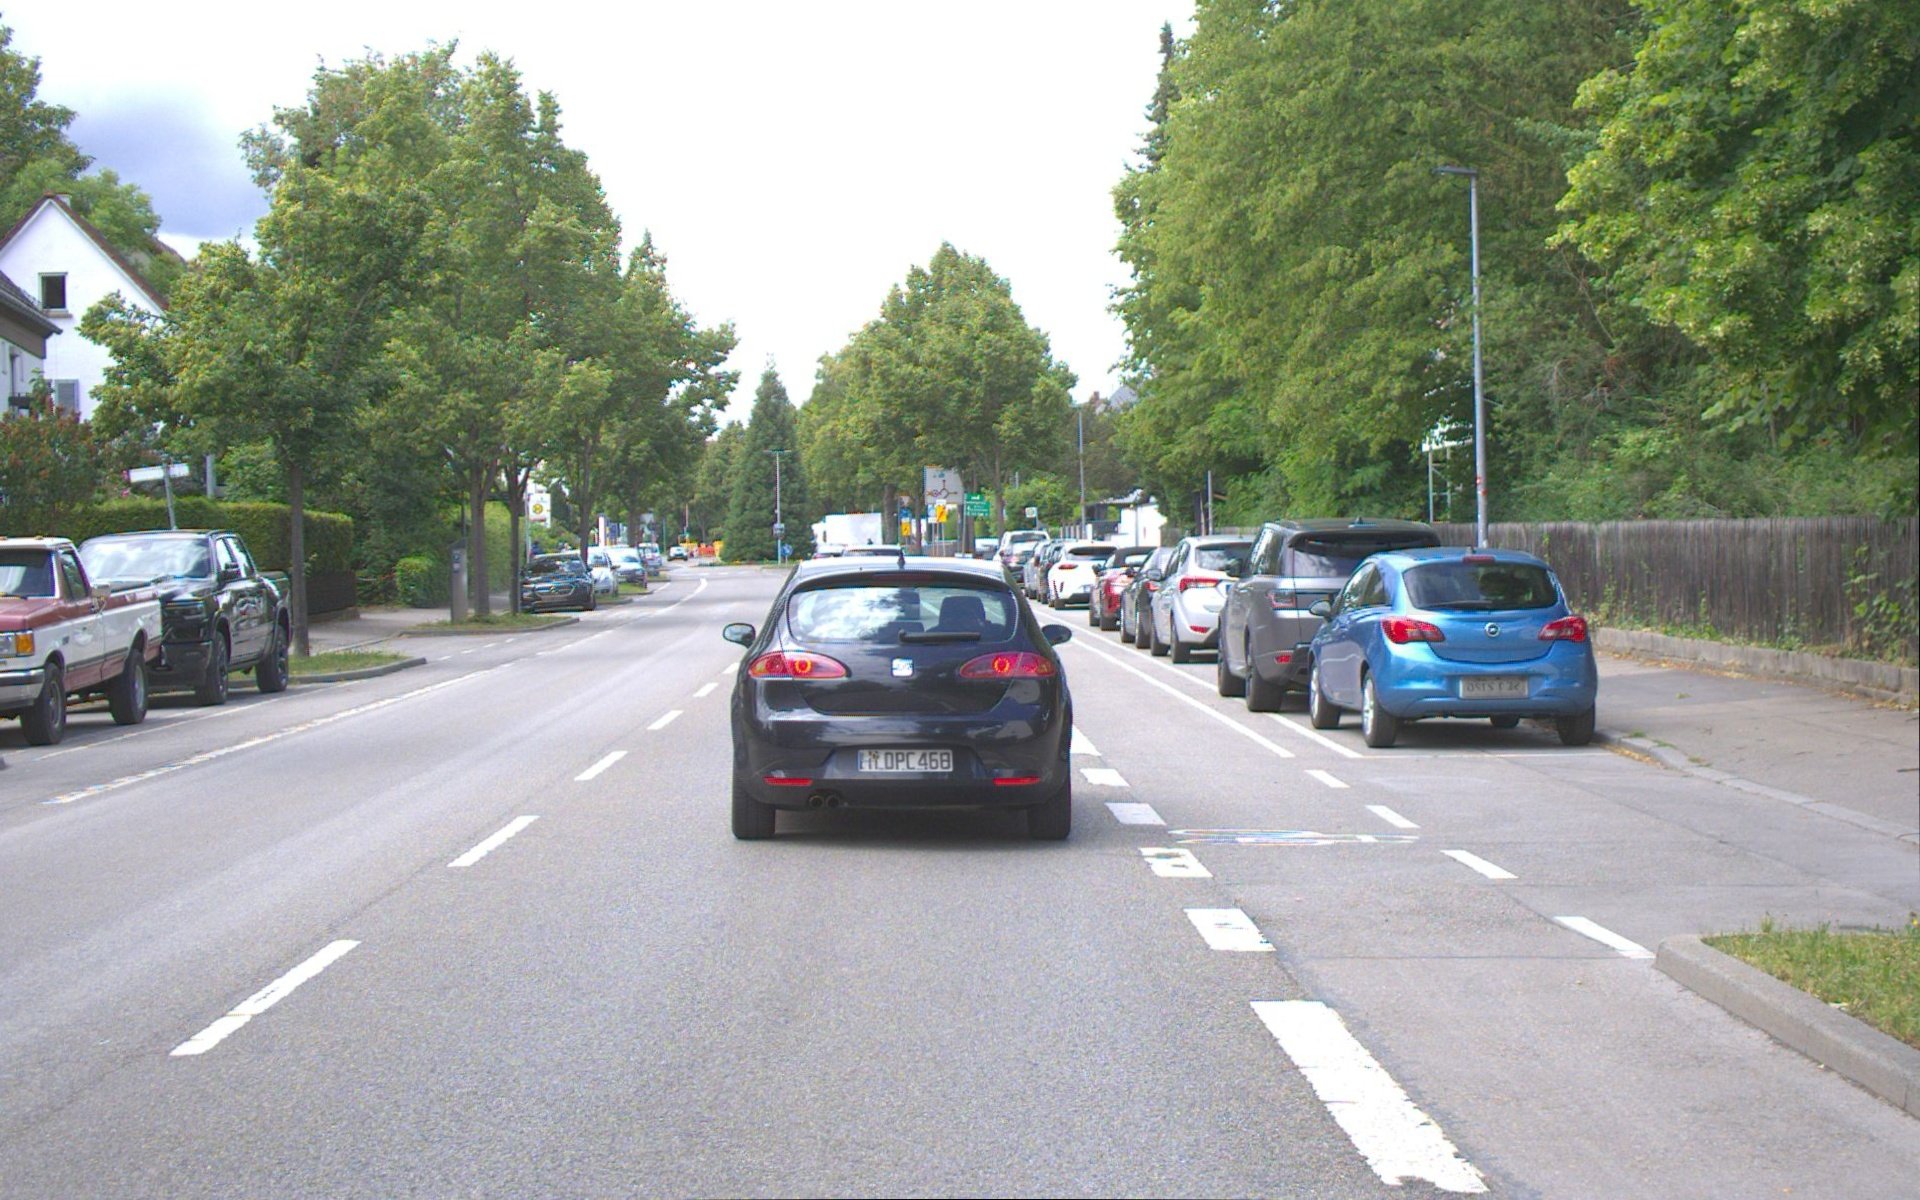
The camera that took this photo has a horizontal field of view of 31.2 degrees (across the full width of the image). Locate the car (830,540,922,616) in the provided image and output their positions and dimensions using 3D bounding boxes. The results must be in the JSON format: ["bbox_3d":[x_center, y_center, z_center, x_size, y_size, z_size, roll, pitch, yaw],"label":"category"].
[{"bbox_3d":[-1.718,-0.463,71.019,1.846,1.504,3.812,1,1,-1],"label":"car"}]

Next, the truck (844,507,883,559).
[{"bbox_3d":[-5.970,-4.095,212.481,2.278,3.093,8.511,1,1,-2],"label":"truck"}]

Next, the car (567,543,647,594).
[{"bbox_3d":[-11.415,-1.055,111.651,2.100,1.501,5.784,-3,1,-2],"label":"car"}]

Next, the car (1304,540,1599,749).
[{"bbox_3d":[3.723,0.291,26.548,1.688,1.485,3.355,-1,1,-2],"label":"car"}]

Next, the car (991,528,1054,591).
[{"bbox_3d":[1.904,-1.250,105.866,1.688,1.869,4.214,-1,1,-2],"label":"car"}]

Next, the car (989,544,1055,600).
[{"bbox_3d":[1.770,-0.829,99.120,1.688,1.559,4.214,-1,1,-2],"label":"car"}]

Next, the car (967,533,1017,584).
[{"bbox_3d":[1.201,-1.585,130.674,1.688,1.869,4.214,-1,1,-2],"label":"car"}]

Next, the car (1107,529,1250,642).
[{"bbox_3d":[3.159,-0.237,50.424,1.688,1.559,4.214,-1,1,-2],"label":"car"}]

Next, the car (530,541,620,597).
[{"bbox_3d":[-11.343,-0.937,101.673,2.100,1.501,5.784,-3,1,-2],"label":"car"}]

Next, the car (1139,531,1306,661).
[{"bbox_3d":[3.329,-0.086,44.208,1.688,1.559,4.214,-1,1,-2],"label":"car"}]

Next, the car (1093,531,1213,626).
[{"bbox_3d":[3.284,-0.394,59.204,1.688,1.559,4.214,-1,1,-2],"label":"car"}]

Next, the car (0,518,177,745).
[{"bbox_3d":[-8.875,0.255,31.589,2.100,1.890,5.784,-3,1,-2],"label":"car"}]

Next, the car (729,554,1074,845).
[{"bbox_3d":[-0.377,0.461,18.576,1.662,1.396,3.812,1,1,-3],"label":"car"}]

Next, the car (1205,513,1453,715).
[{"bbox_3d":[3.322,0.086,31.652,1.688,1.705,4.214,-1,1,-2],"label":"car"}]

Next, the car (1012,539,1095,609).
[{"bbox_3d":[2.167,-0.635,80.545,1.688,1.559,4.214,-1,1,-2],"label":"car"}]

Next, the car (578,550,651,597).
[{"bbox_3d":[-12.164,-0.965,121.480,2.100,1.501,5.784,-3,1,-2],"label":"car"}]

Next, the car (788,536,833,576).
[{"bbox_3d":[-6.469,-1.914,149.325,1.881,1.683,4.214,-1,1,-2],"label":"car"}]

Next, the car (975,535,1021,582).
[{"bbox_3d":[1.569,-1.737,142.493,1.688,1.869,4.214,-1,1,-2],"label":"car"}]

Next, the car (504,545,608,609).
[{"bbox_3d":[-10.418,-0.624,88.977,2.100,1.501,5.784,-3,1,-2],"label":"car"}]

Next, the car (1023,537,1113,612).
[{"bbox_3d":[2.327,-0.571,74.906,1.688,1.559,4.214,-1,1,-2],"label":"car"}]

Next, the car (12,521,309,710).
[{"bbox_3d":[-8.996,0.114,39.217,2.100,1.890,5.784,-3,1,-2],"label":"car"}]
